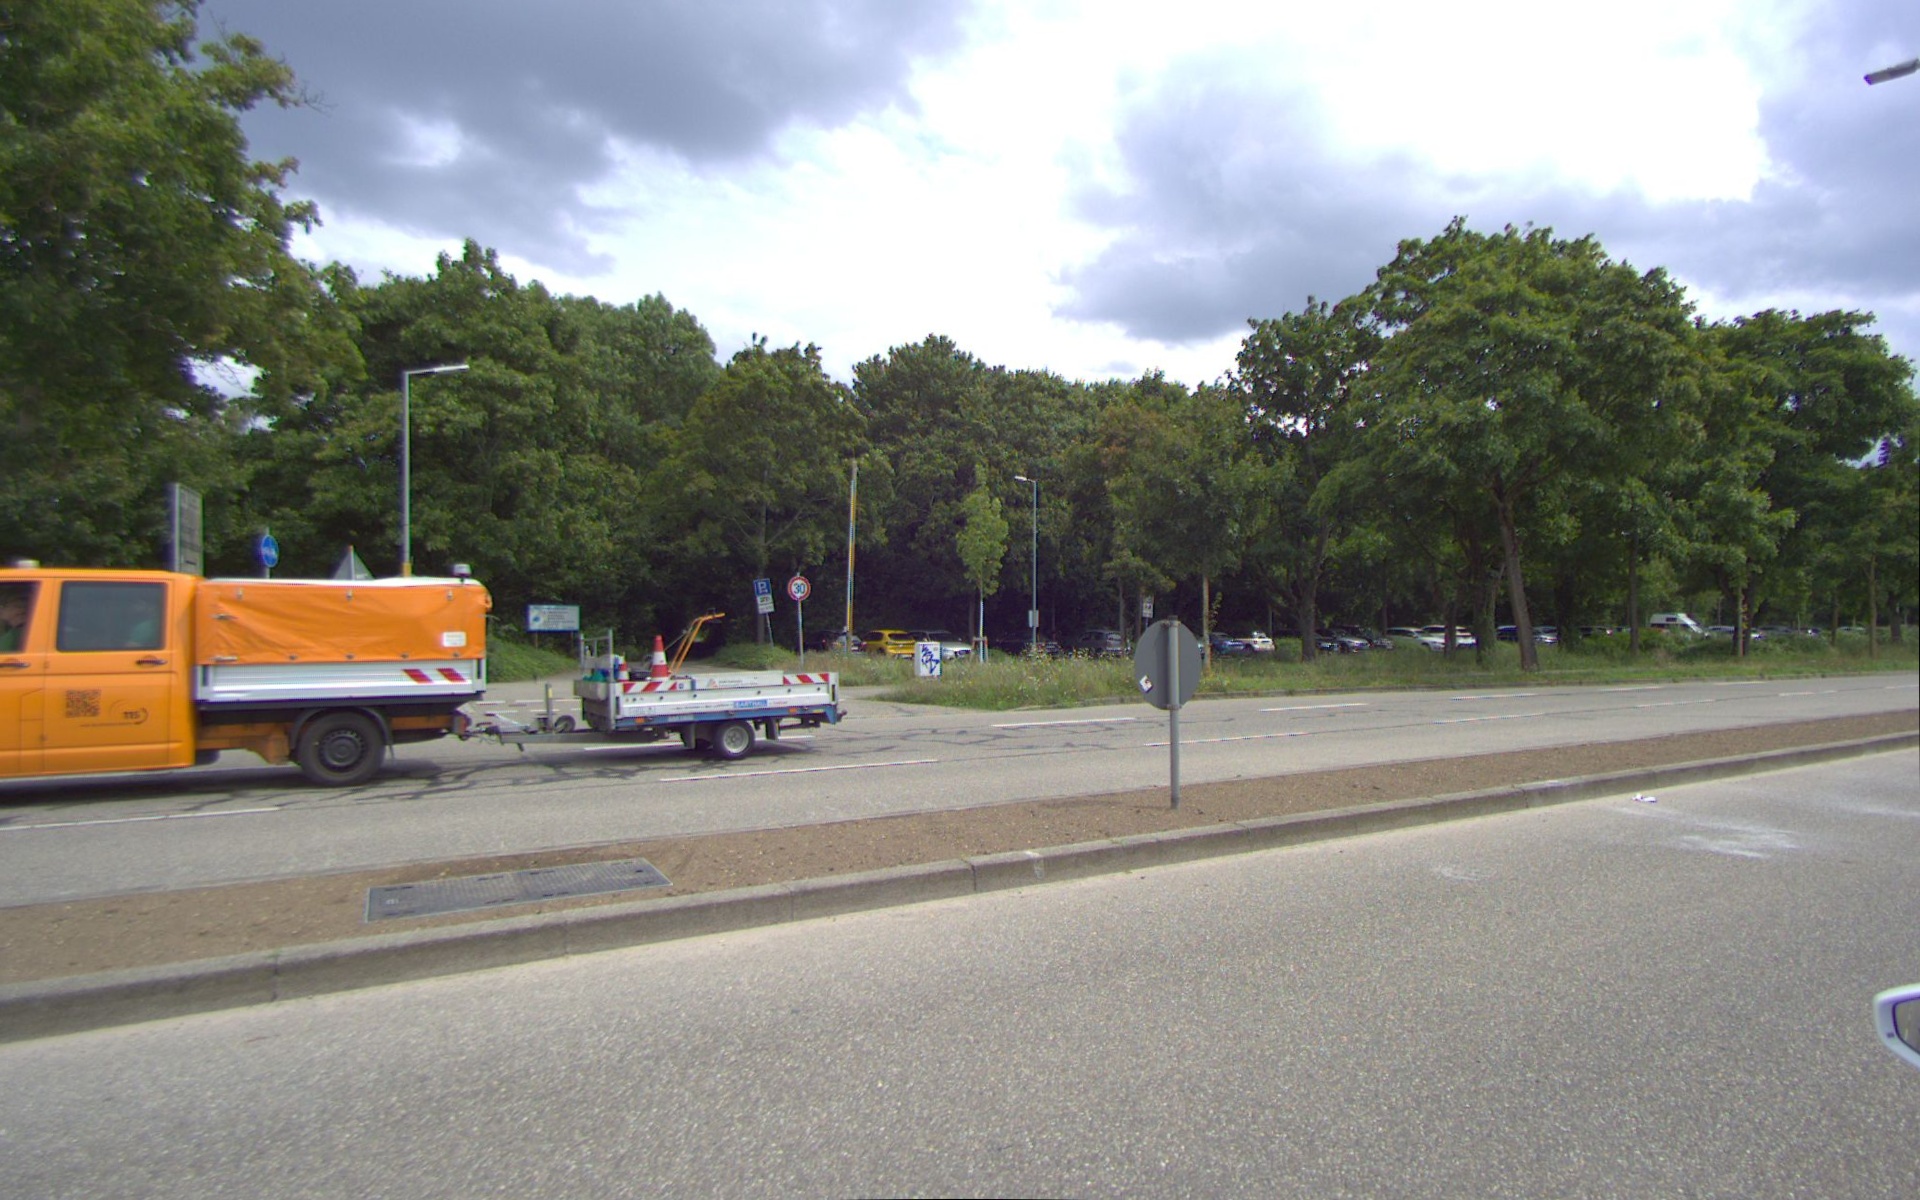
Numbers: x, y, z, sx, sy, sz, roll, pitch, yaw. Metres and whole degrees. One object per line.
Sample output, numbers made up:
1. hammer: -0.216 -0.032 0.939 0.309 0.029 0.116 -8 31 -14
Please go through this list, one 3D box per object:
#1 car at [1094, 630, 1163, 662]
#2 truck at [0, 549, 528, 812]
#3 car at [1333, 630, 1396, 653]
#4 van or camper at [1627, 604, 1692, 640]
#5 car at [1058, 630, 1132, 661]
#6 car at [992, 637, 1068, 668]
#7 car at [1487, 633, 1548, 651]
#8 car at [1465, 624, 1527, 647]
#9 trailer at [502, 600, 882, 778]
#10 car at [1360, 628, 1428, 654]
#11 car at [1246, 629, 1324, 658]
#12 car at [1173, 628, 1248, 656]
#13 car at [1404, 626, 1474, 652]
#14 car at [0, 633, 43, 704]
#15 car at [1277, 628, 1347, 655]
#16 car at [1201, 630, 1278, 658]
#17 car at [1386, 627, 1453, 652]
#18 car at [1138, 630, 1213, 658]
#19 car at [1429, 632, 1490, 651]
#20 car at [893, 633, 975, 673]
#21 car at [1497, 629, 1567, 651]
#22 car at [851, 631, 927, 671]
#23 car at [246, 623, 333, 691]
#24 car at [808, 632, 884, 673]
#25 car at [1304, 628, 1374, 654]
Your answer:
1. car: 8.307 2.243 49.755 1.498 1.430 3.635 0 -1 -28
2. truck: -7.217 0.663 9.031 5.966 2.021 2.079 0 -2 -30
3. car: 23.840 2.433 59.300 1.498 1.223 3.281 0 -1 -28
4. van or camper: 56.919 1.763 81.799 1.904 2.793 3.968 0 -1 -30
5. car: 6.546 2.203 49.091 1.763 1.367 3.694 0 -1 -28
6. car: 3.160 2.375 45.939 1.763 1.274 3.694 0 -1 -28
7. car: 37.306 2.812 67.323 1.423 1.108 3.352 0 -1 -29
8. car: 35.389 2.342 66.424 1.305 1.430 3.536 0 -1 -28
9. trailer: -3.058 0.932 11.524 3.847 1.712 2.054 1 -3 -29
10. car: 26.181 2.446 60.714 1.498 1.430 3.635 0 -1 -28
11. car: 17.896 2.375 55.469 1.973 1.429 3.975 0 -1 -25
12. car: 13.239 2.190 53.237 1.646 1.378 3.972 0 -1 -28
13. car: 30.343 2.425 63.694 1.859 1.539 3.635 0 -1 -28
14. car: -26.116 1.794 26.624 1.864 1.739 3.968 0 -1 -30
15. car: 19.874 2.320 56.842 1.687 1.378 3.631 0 -1 -28
16. car: 15.212 2.360 54.842 1.799 1.378 3.972 0 -1 -28
17. car: 28.246 2.392 61.814 1.498 1.430 3.635 0 -1 -28
18. car: 10.968 2.217 51.270 1.645 1.254 3.973 0 -1 -27
19. car: 32.336 2.693 65.039 1.423 1.127 3.352 0 -1 -29
20. car: -1.176 2.239 43.230 1.862 1.518 4.164 0 -1 -28
21. car: 39.101 2.723 68.738 1.976 1.428 3.714 0 -1 -29
22. car: -3.042 2.126 42.505 1.763 1.518 3.971 0 -1 -28
23. car: -20.435 1.667 30.739 1.916 1.912 3.969 0 -1 -30
24. car: -4.745 2.098 41.326 1.763 1.518 3.971 0 -1 -28
25. car: 21.894 2.348 58.133 1.687 1.378 3.631 0 -1 -28
